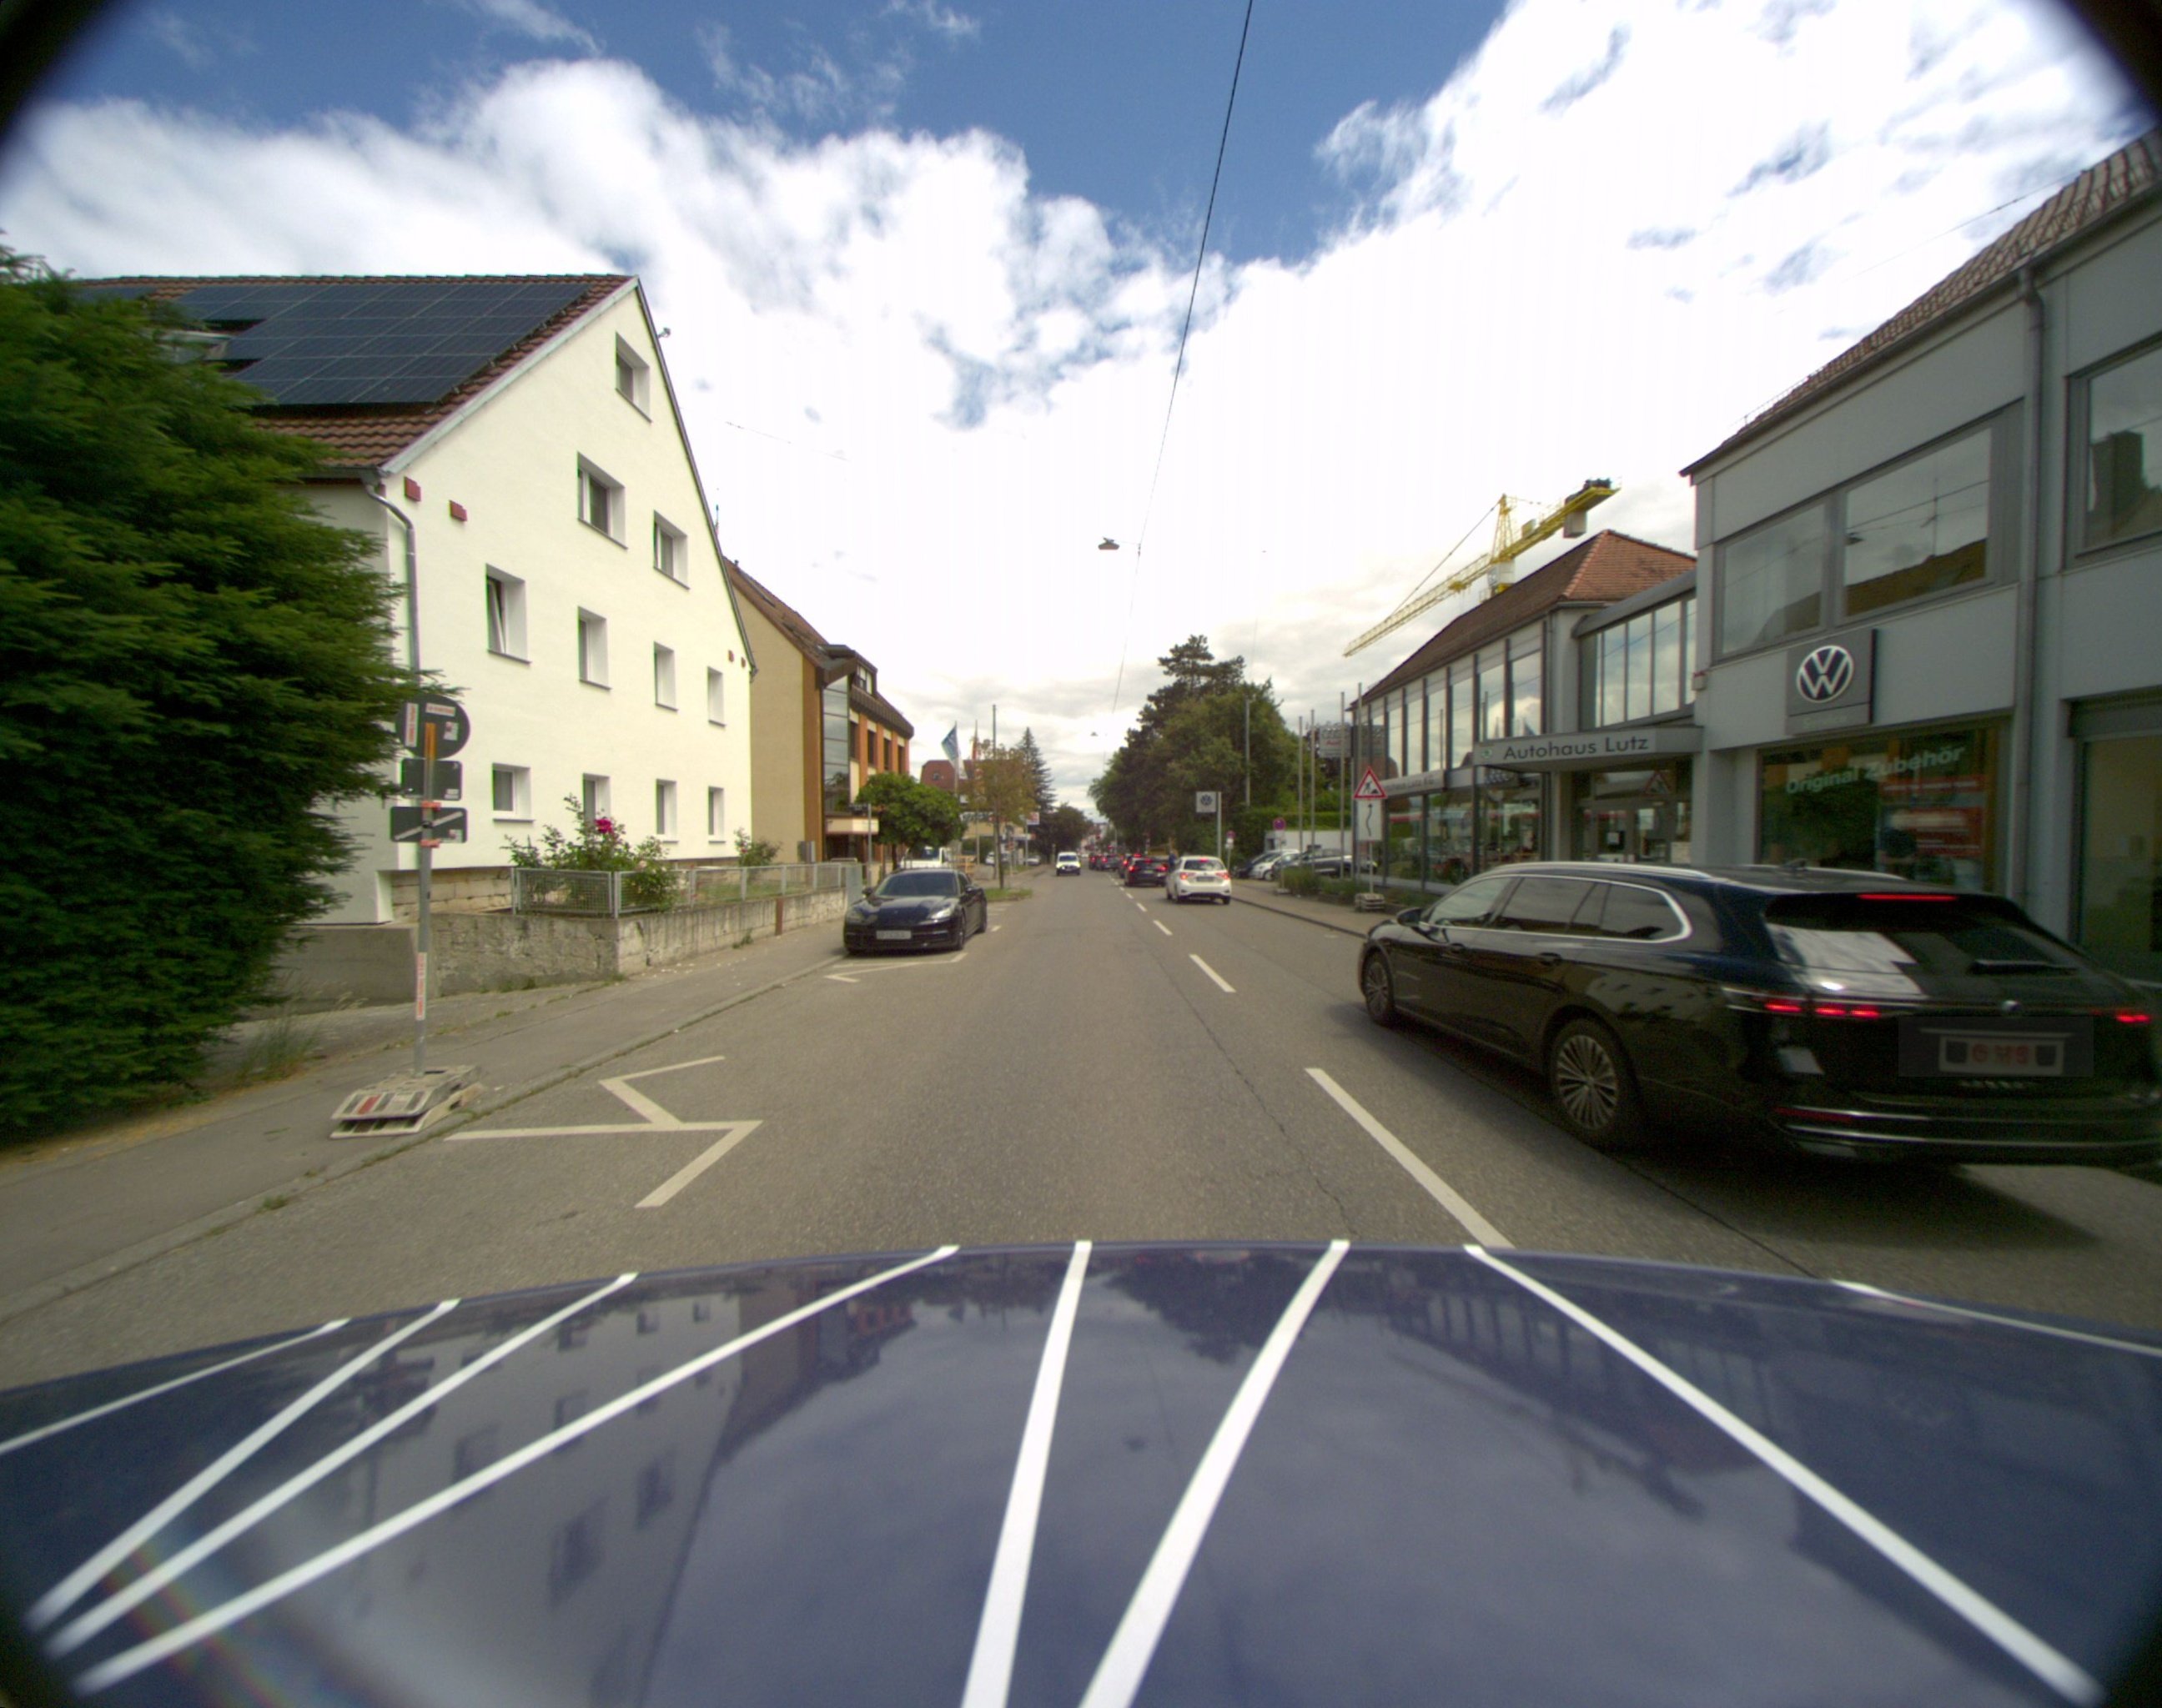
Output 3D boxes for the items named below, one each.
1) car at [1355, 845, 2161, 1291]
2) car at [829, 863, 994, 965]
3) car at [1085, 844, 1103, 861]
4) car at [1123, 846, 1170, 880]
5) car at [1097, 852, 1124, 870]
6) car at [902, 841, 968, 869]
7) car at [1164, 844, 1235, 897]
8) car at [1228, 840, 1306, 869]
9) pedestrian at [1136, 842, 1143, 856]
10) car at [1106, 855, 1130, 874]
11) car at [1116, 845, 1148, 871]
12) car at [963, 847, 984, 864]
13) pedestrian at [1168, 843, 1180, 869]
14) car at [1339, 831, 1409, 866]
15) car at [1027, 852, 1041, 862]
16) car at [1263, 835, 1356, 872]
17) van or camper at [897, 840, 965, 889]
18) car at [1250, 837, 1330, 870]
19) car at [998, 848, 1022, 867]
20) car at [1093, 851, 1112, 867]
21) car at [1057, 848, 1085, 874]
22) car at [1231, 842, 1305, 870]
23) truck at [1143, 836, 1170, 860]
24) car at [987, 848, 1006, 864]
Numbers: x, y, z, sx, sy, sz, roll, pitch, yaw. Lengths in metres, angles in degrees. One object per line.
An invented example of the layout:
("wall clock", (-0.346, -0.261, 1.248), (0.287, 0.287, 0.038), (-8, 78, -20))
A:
("car", (3.458, 0.718, 4.847), (1.780, 1.514, 4.461), (0, 1, 0))
("car", (-2.925, 0.967, 14.259), (1.989, 1.440, 4.751), (0, 1, 1))
("car", (1.439, -0.144, 87.715), (1.913, 1.940, 4.913), (0, 0, -1))
("car", (3.118, 0.394, 36.923), (1.836, 1.514, 4.169), (0, 1, -1))
("car", (2.713, 0.619, 70.628), (1.871, 1.608, 4.532), (1, 0, -6))
("car", (-9.644, 0.048, 50.025), (4.306, 1.621, 1.639), (3, 0, 36))
("car", (3.791, 0.485, 24.847), (1.694, 1.570, 3.799), (0, 1, 0))
("car", (11.265, 0.012, 46.293), (4.300, 1.631, 1.904), (-1, 0, 1))
("pedestrian", (7.371, -0.628, 95.757), (0.835, 1.837, 1.022), (-1, 2, 4))
("car", (2.953, 0.800, 61.642), (1.744, 1.421, 4.523), (1, 0, 1))
("car", (3.284, 0.272, 49.646), (1.836, 1.620, 4.320), (0, 0, 0))
("car", (-11.703, 0.136, 83.004), (1.716, 1.533, 4.655), (4, 1, -1))
("pedestrian", (6.416, 0.140, 52.600), (0.684, 1.727, 0.868), (-1, 2, 0))
("car", (14.858, -0.223, 38.776), (1.811, 1.575, 4.328), (-3, -1, 0))
("car", (-6.101, 0.376, 99.038), (1.789, 1.309, 4.479), (1, 1, -2))
("car", (11.146, -0.018, 37.251), (4.023, 1.621, 1.654), (-3, 0, -1))
("van or camper", (-6.765, 0.414, 34.722), (1.871, 2.020, 4.548), (-1, 1, 4))
("car", (11.045, -0.010, 40.343), (3.749, 1.551, 1.534), (-3, 0, -1))
("car", (-6.934, 0.336, 74.648), (1.619, 1.587, 4.160), (6, 1, 3))
("car", (2.121, 0.509, 76.953), (1.870, 1.518, 4.528), (0, 0, 1))
("car", (-0.749, 0.505, 59.547), (1.965, 1.797, 4.428), (-2, 1, 1))
("car", (10.559, 0.116, 43.011), (3.749, 1.509, 1.729), (0, 0, -1))
("truck", (7.846, -0.655, 79.754), (2.311, 2.406, 6.092), (-1, 1, 2))
("car", (-9.346, 0.225, 84.274), (1.639, 1.520, 4.202), (4, 1, -2))
